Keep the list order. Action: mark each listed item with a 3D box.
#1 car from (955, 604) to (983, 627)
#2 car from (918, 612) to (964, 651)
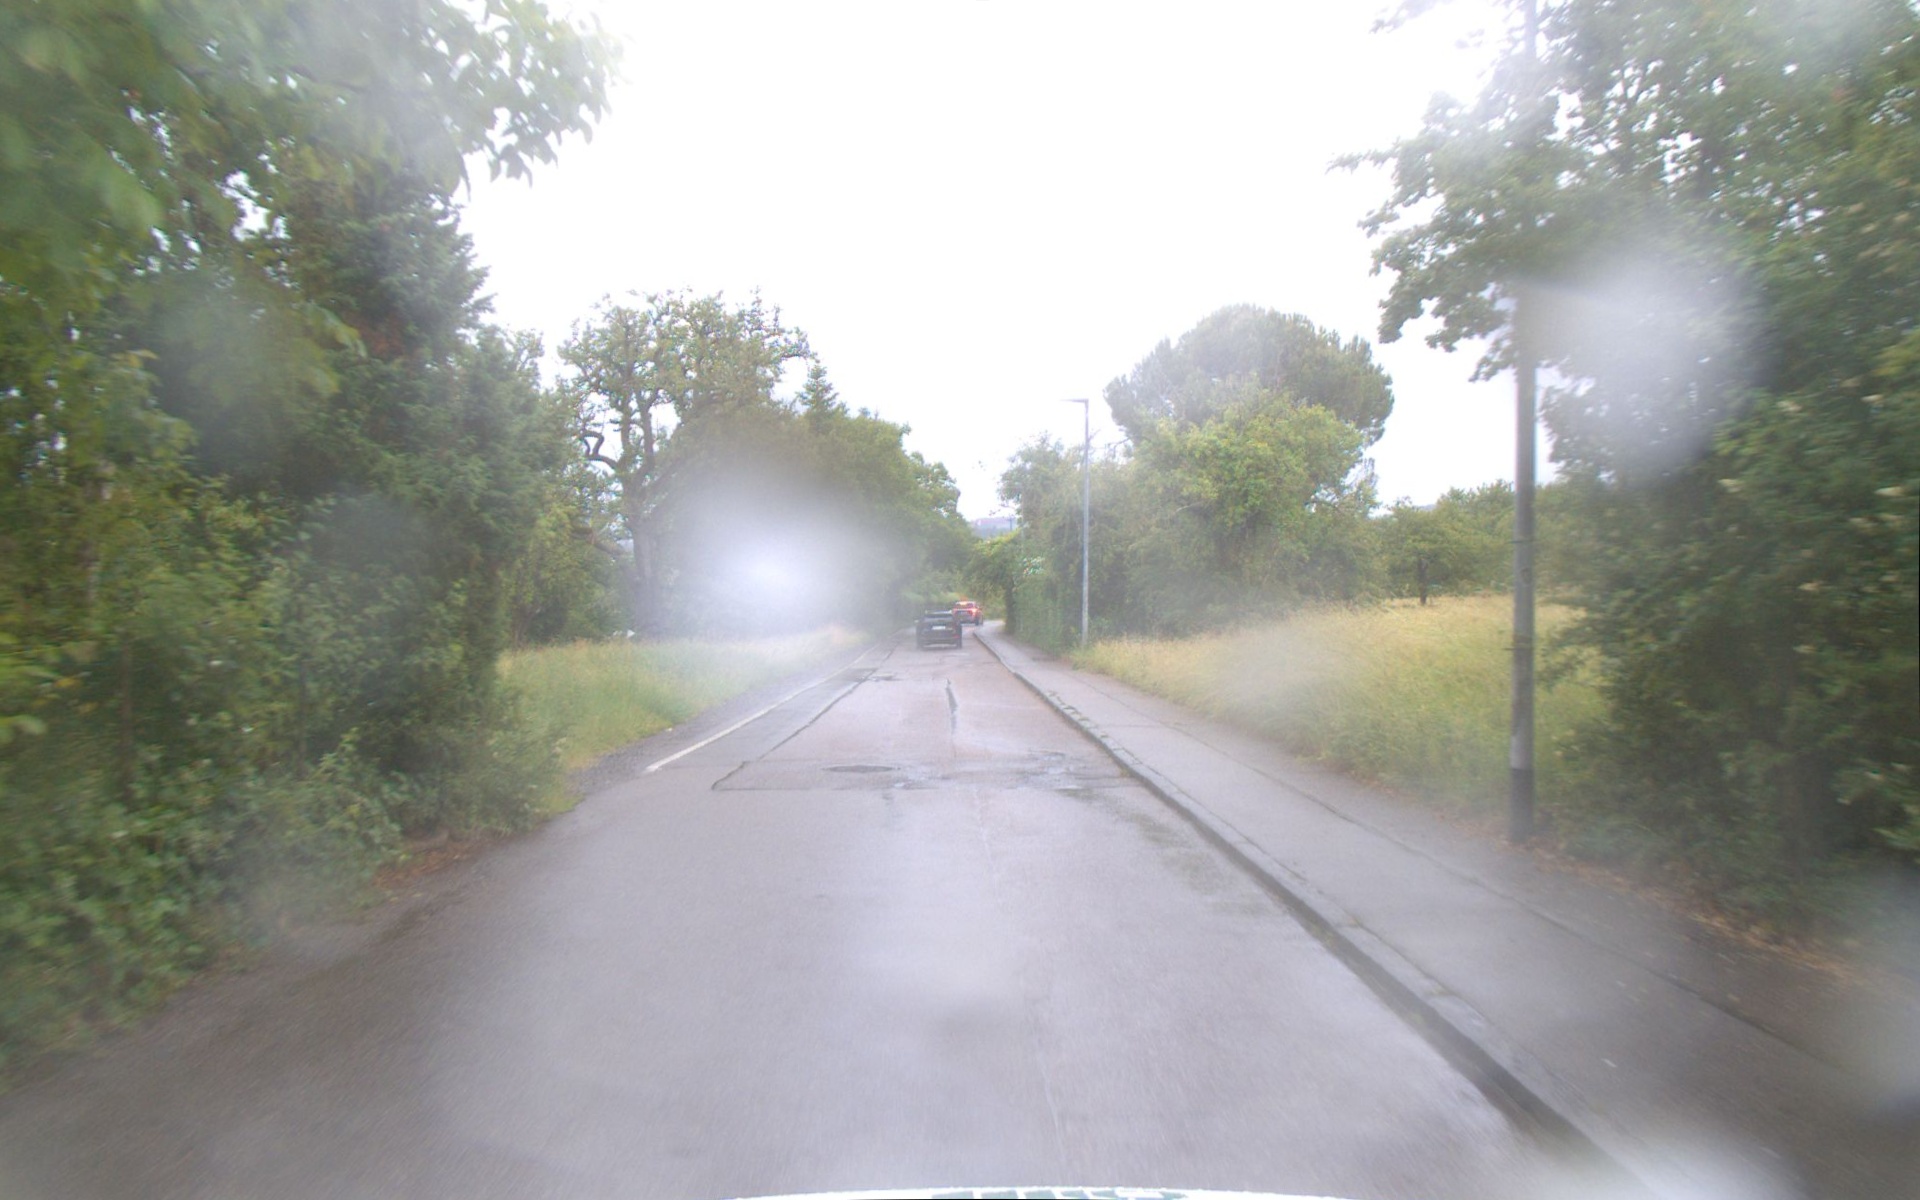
[{"bbox_3d":[0.574,0.998,106.911,1.600,1.439,3.546,-1,-2,4],"label":"car"},{"bbox_3d":[-0.710,1.236,63.983,1.601,1.476,3.545,0,-2,2],"label":"car"}]
